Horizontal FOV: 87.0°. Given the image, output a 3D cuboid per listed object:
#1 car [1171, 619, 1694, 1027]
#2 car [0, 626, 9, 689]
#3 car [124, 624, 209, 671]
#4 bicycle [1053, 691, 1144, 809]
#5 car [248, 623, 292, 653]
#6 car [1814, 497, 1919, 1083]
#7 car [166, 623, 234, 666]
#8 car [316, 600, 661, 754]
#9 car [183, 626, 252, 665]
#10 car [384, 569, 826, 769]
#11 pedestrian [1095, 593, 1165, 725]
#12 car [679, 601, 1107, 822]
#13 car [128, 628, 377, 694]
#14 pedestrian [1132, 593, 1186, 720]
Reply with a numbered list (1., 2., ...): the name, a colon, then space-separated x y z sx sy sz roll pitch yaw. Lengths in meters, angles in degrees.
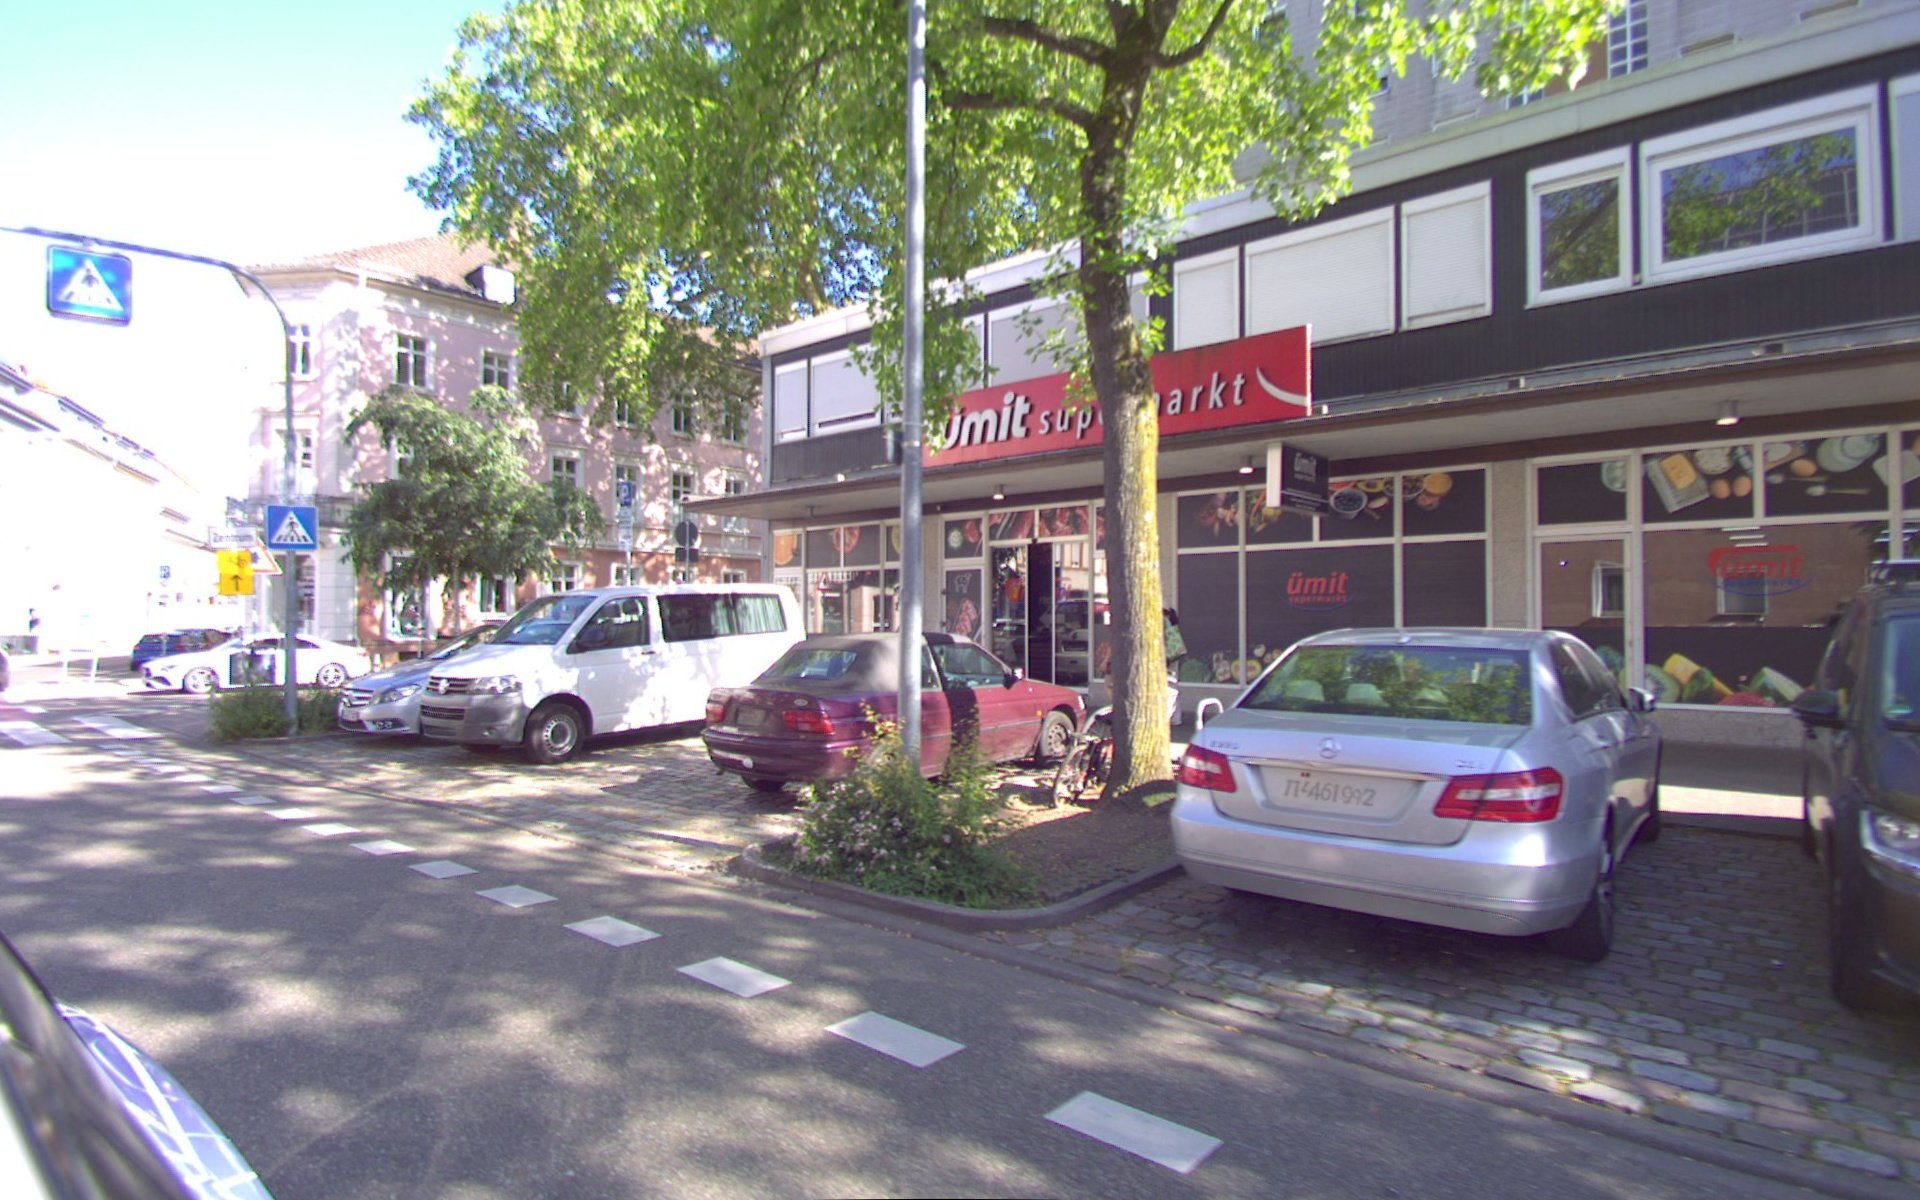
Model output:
1. car: 2.873 0.819 5.615 1.757 1.409 3.948 -1 -2 38
2. car: -24.207 1.369 24.252 1.969 1.475 4.004 0 -1 -42
3. car: -29.902 1.760 38.247 1.645 1.650 4.061 0 -2 -26
4. bicycle: 1.127 1.168 8.089 0.247 0.773 1.158 -1 0 33
5. car: -40.242 2.193 59.126 1.493 1.674 4.013 0 -2 -25
6. car: 5.058 0.547 4.397 1.872 1.790 4.722 -2 -1 38
7. car: -31.717 1.826 42.343 1.482 1.674 4.013 0 -2 -25
8. car: -6.331 0.951 13.944 1.756 1.805 3.947 -2 -2 39
9. car: -34.259 2.068 46.791 1.827 1.674 4.013 0 -2 -25
10. car: -4.125 0.699 12.580 1.907 1.984 4.934 -1 -1 38
11. pedestrian: 2.104 0.708 12.531 0.662 1.567 0.522 -1 0 41
12. car: -0.408 0.822 9.379 1.735 1.431 3.949 -1 1 38
13. car: -17.314 1.433 24.953 2.000 1.436 4.737 -2 -2 43
14. pedestrian: 2.534 0.702 12.883 0.498 1.567 0.468 -1 0 41
